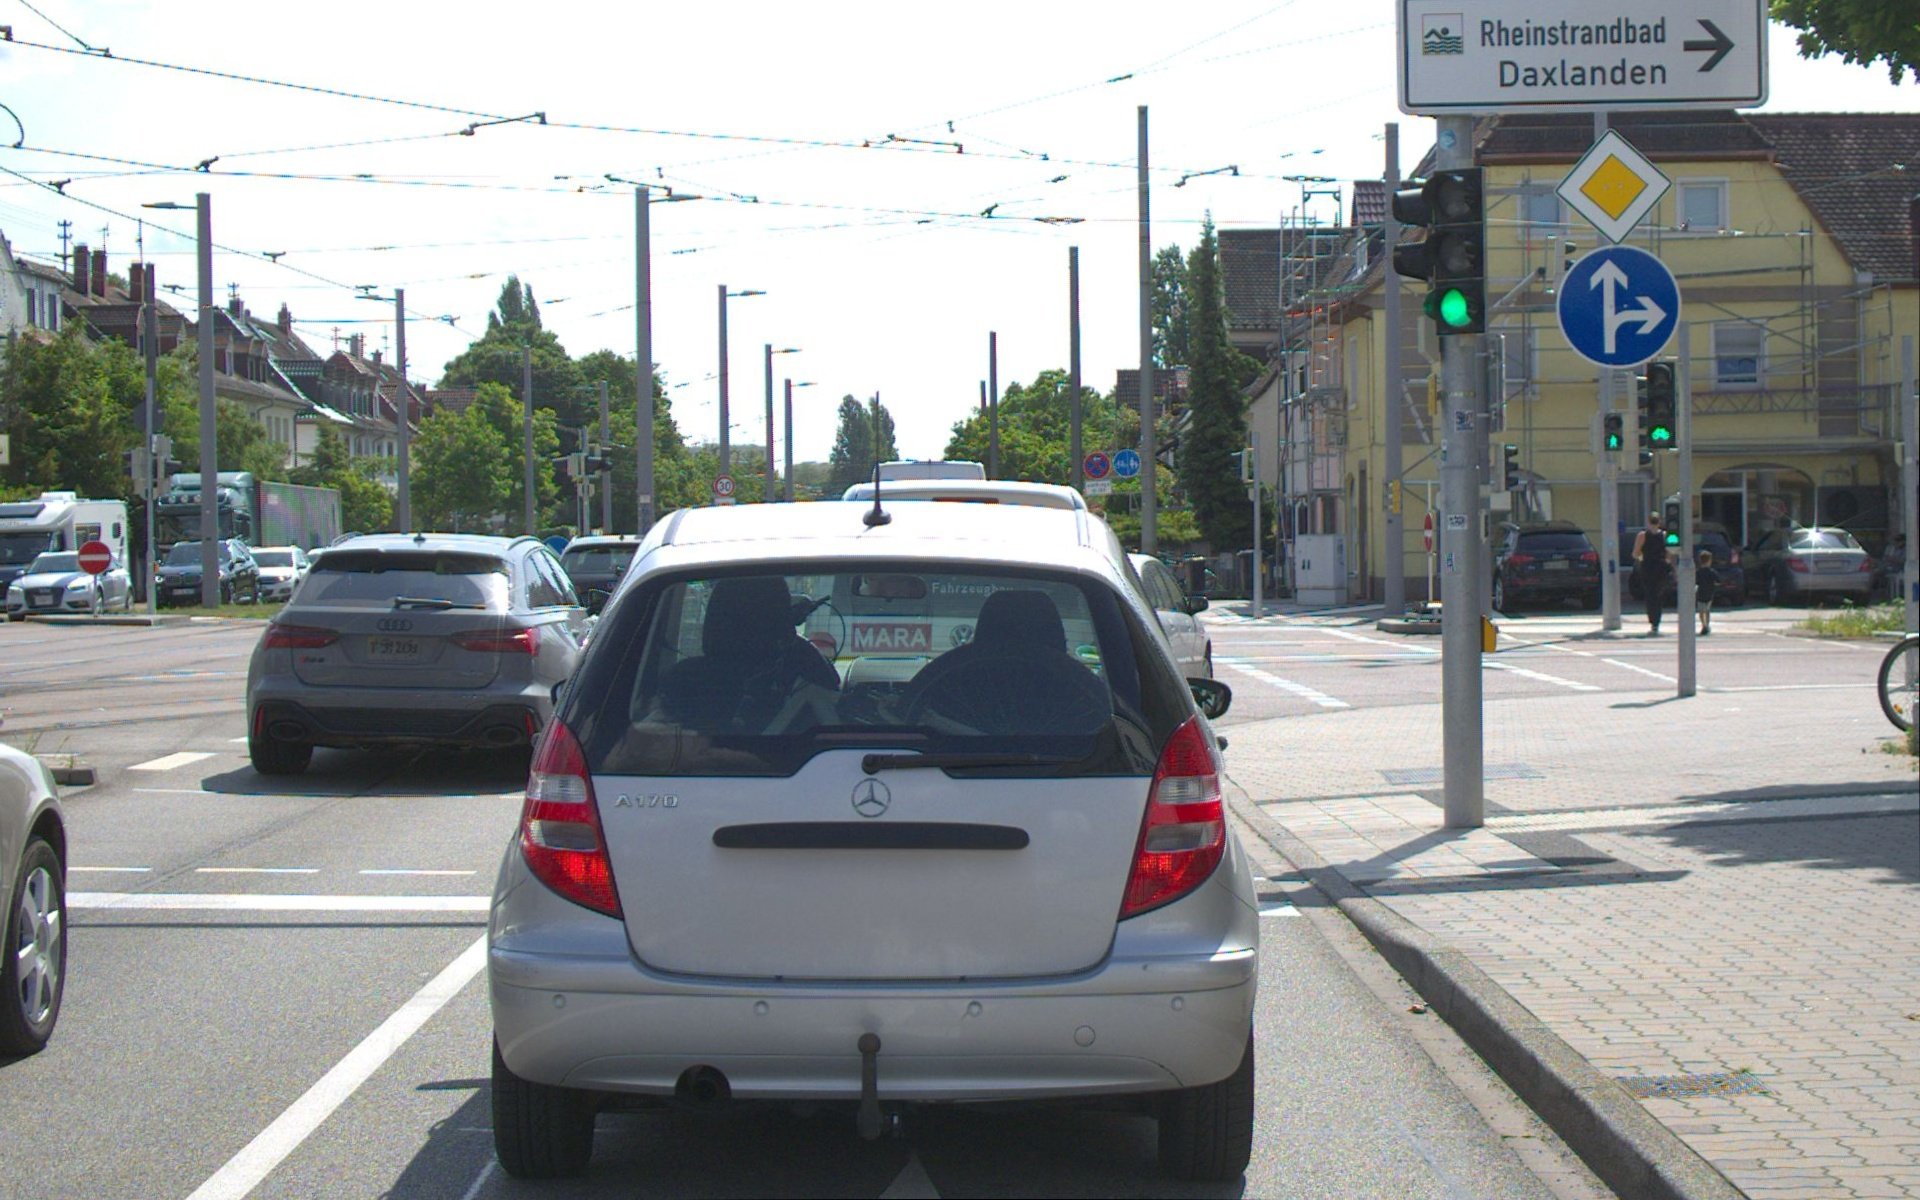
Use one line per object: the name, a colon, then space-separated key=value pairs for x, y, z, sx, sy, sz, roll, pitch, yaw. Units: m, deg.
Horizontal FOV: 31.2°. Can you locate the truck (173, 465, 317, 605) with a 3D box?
truck: x=-20.657 y=-1.911 z=99.611 sx=2.599 sy=3.808 sz=5.667 roll=-3 pitch=2 yaw=2

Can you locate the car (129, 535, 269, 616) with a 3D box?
car: x=-17.825 y=-0.605 z=80.777 sx=1.993 sy=1.770 sz=4.878 roll=-2 pitch=1 yaw=2

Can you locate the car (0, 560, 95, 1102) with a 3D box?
car: x=-3.407 y=0.611 z=8.023 sx=1.731 sy=1.444 sz=4.123 roll=1 pitch=0 yaw=0

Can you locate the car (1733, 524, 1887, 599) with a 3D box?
car: x=16.028 y=-0.721 z=65.024 sx=1.867 sy=1.347 sz=4.131 roll=1 pitch=0 yaw=0

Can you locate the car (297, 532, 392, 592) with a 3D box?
car: x=-17.726 y=-1.096 z=99.179 sx=1.794 sy=1.631 sz=4.471 roll=-2 pitch=0 yaw=2

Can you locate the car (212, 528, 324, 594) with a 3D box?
car: x=-18.101 y=-1.015 z=90.120 sx=1.993 sy=1.547 sz=4.178 roll=-4 pitch=0 yaw=0

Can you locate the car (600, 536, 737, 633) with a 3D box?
car: x=-4.350 y=-0.242 z=51.733 sx=1.852 sy=1.383 sz=3.919 roll=1 pitch=0 yaw=-2

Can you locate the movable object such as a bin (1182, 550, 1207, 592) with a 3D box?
movable object such as a bin: x=5.145 y=-0.639 z=75.396 sx=0.511 sy=0.915 sz=0.741 roll=0 pitch=0 yaw=0

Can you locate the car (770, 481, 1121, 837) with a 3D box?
car: x=-0.163 y=0.281 z=19.197 sx=1.730 sy=1.756 sz=4.017 roll=1 pitch=0 yaw=-3

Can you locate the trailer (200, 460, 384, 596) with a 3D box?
trailer: x=-20.462 y=-2.281 z=106.186 sx=2.599 sy=3.808 sz=12.837 roll=-3 pitch=2 yaw=2

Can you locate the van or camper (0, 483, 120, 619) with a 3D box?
van or camper: x=-21.281 y=-1.116 z=78.356 sx=2.324 sy=2.920 sz=7.755 roll=-1 pitch=1 yaw=0

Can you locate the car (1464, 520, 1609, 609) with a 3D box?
car: x=10.808 y=-0.656 z=64.688 sx=1.993 sy=1.590 sz=4.131 roll=1 pitch=0 yaw=0

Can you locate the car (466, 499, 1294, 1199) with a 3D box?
car: x=-0.259 y=0.538 z=9.277 sx=1.730 sy=1.512 sz=4.017 roll=1 pitch=0 yaw=-3

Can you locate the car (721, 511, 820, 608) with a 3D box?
car: x=-3.723 y=-0.796 z=68.125 sx=1.852 sy=1.837 sz=3.919 roll=1 pitch=0 yaw=-2

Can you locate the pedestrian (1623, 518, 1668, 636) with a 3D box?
pedestrian: x=9.611 y=-0.317 z=48.205 sx=0.547 sy=1.638 sz=0.401 roll=1 pitch=0 yaw=5

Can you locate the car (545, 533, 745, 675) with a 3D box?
car: x=-3.287 y=0.021 z=36.607 sx=1.852 sy=1.383 sz=4.515 roll=1 pitch=0 yaw=-2

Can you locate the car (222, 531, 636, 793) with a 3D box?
car: x=-3.263 y=0.325 z=22.002 sx=1.916 sy=1.472 sz=4.562 roll=1 pitch=1 yaw=0

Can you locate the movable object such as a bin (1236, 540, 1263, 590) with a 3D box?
movable object such as a bin: x=6.355 y=-0.765 z=75.500 sx=0.511 sy=1.101 sz=0.855 roll=0 pitch=0 yaw=0

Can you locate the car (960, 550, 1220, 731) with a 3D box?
car: x=1.157 y=0.301 z=28.723 sx=1.730 sy=1.399 sz=4.015 roll=0 pitch=0 yaw=8

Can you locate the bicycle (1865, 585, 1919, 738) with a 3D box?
bicycle: x=6.816 y=0.412 z=23.603 sx=0.463 sy=1.015 sz=1.752 roll=1 pitch=0 yaw=39

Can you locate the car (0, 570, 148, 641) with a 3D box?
car: x=-17.719 y=0.094 z=68.675 sx=1.993 sy=1.347 sz=4.178 roll=1 pitch=0 yaw=0

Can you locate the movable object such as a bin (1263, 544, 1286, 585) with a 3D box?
movable object such as a bin: x=7.425 y=-0.837 z=81.152 sx=0.468 sy=0.943 sz=0.558 roll=-1 pitch=0 yaw=0

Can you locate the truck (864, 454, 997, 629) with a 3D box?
truck: x=-0.513 y=-0.885 z=53.323 sx=1.852 sy=2.543 sz=5.855 roll=1 pitch=0 yaw=-2

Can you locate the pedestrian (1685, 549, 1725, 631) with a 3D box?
pedestrian: x=10.446 y=-0.143 z=48.181 sx=0.488 sy=1.132 sz=0.389 roll=1 pitch=0 yaw=6

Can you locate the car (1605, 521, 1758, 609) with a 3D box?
car: x=13.572 y=-0.654 z=64.898 sx=1.993 sy=1.590 sz=4.131 roll=1 pitch=0 yaw=0
